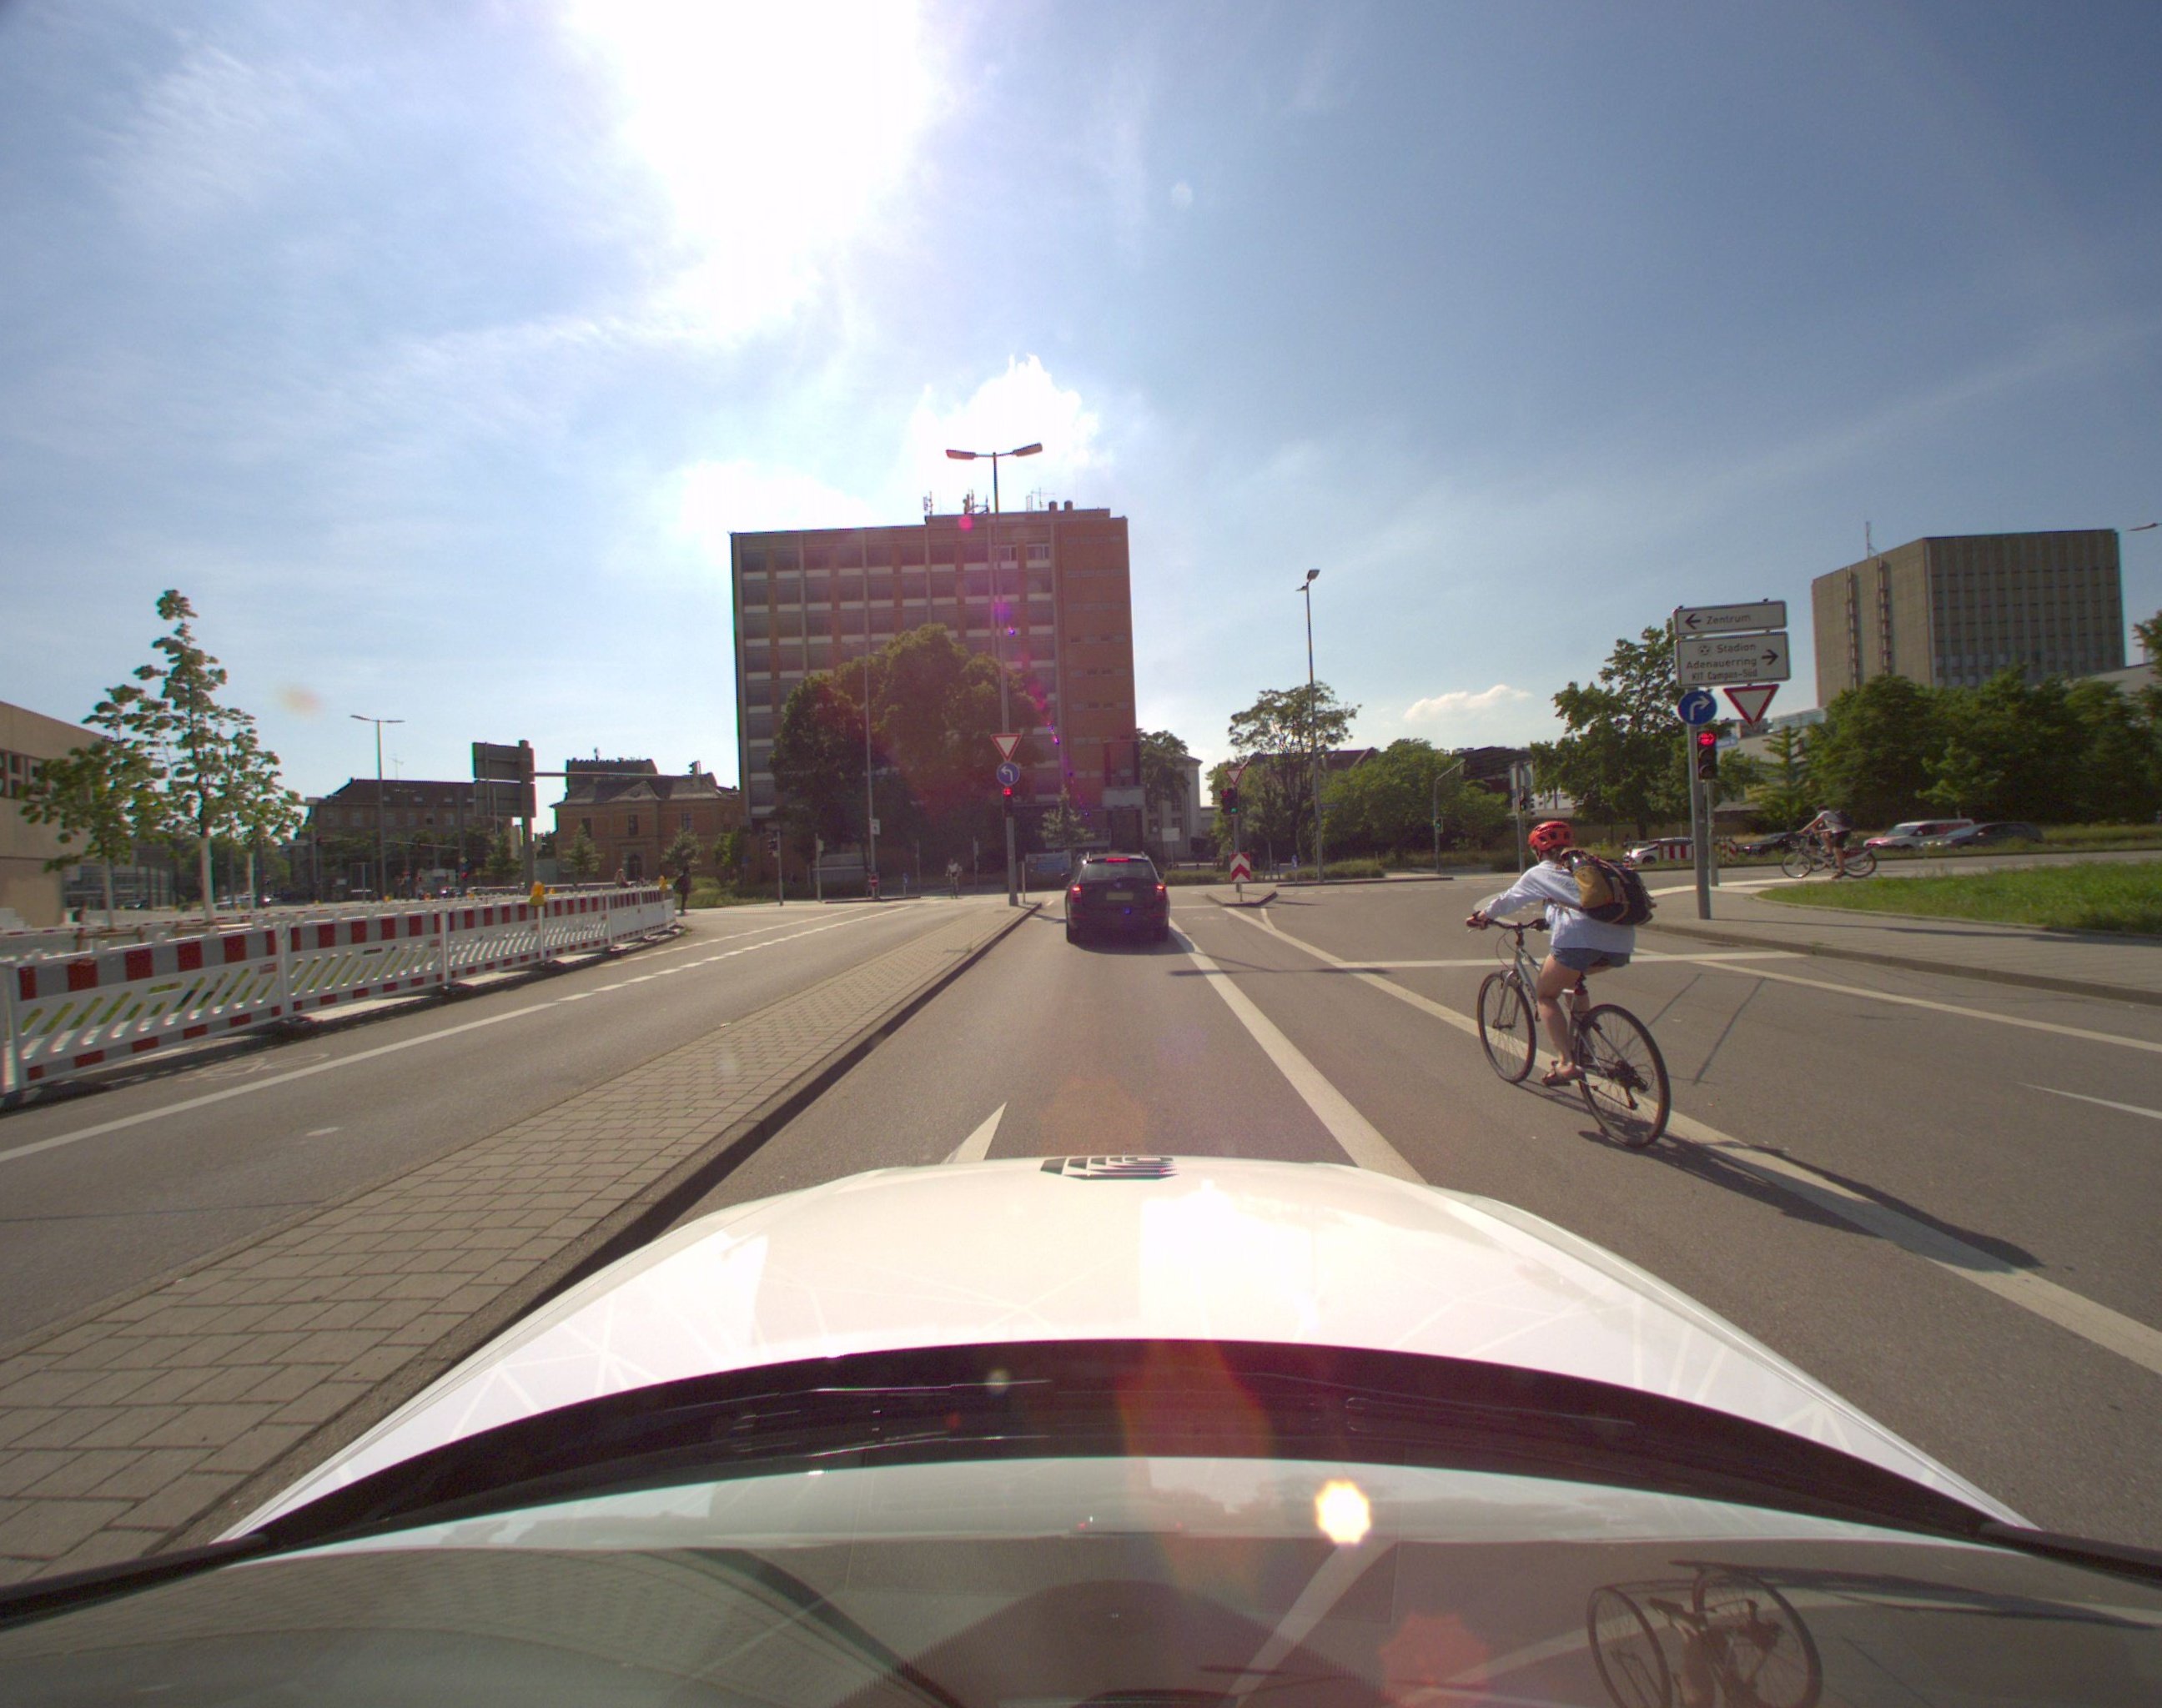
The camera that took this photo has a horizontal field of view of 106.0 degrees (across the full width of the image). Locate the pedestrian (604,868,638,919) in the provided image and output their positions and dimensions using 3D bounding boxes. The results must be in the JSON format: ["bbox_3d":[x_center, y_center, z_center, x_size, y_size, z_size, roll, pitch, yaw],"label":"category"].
[{"bbox_3d":[-16.580,1.423,29.393,0.737,1.752,1.105,-3,-2,-14],"label":"pedestrian"}]

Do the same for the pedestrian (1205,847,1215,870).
[{"bbox_3d":[10.394,0.352,65.567,0.591,1.874,0.642,-2,-1,25],"label":"pedestrian"}]

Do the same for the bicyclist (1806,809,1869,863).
[{"bbox_3d":[21.859,-0.505,23.538,1.157,1.474,0.566,-3,0,14],"label":"bicyclist"}]

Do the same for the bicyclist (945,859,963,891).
[{"bbox_3d":[-5.905,0.971,38.036,0.617,1.443,0.919,-5,0,-3],"label":"bicyclist"}]

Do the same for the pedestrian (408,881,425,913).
[{"bbox_3d":[-42.600,2.740,52.213,0.621,2.013,0.525,-3,0,15],"label":"pedestrian"}]

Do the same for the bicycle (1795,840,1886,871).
[{"bbox_3d":[21.908,0.036,23.534,1.876,0.792,0.562,-2,1,14],"label":"bicycle"}]

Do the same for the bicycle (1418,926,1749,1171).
[{"bbox_3d":[2.679,0.961,4.676,0.594,0.931,2.027,-1,-1,-1],"label":"bicycle"}]

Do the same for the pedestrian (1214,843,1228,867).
[{"bbox_3d":[11.255,0.091,65.487,0.786,1.874,0.642,-4,0,24],"label":"pedestrian"}]

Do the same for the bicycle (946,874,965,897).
[{"bbox_3d":[-5.868,1.477,38.188,0.617,0.961,1.966,-5,0,-3],"label":"bicycle"}]

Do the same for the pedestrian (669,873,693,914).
[{"bbox_3d":[-15.068,1.467,30.667,0.632,1.491,0.614,-3,0,-15],"label":"pedestrian"}]

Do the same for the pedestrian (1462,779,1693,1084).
[{"bbox_3d":[2.651,0.375,4.463,0.581,1.466,1.012,-1,-1,-2],"label":"pedestrian"}]

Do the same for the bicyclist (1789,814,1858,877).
[{"bbox_3d":[17.685,-0.183,19.404,0.499,1.470,1.129,0,-2,-41],"label":"bicyclist"}]

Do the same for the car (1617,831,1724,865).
[{"bbox_3d":[30.020,-0.288,41.584,3.973,1.464,2.000,-3,-1,1],"label":"car"}]

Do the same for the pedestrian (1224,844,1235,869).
[{"bbox_3d":[11.720,0.193,64.360,0.634,1.874,0.797,-4,0,1],"label":"pedestrian"}]

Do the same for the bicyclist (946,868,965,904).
[{"bbox_3d":[-5.866,1.476,38.144,0.617,1.581,1.013,-5,0,-3],"label":"bicyclist"}]

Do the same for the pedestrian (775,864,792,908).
[{"bbox_3d":[-14.000,1.501,38.317,0.618,2.014,0.679,0,-2,-36],"label":"pedestrian"}]

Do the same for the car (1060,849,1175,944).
[{"bbox_3d":[0.650,0.661,14.615,1.773,1.443,3.820,-1,0,2],"label":"car"}]

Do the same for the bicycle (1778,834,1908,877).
[{"bbox_3d":[17.935,0.040,19.210,0.678,0.916,2.143,-3,0,-41],"label":"bicycle"}]

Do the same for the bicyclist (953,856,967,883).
[{"bbox_3d":[-6.535,0.857,44.078,0.537,1.417,1.030,-4,-1,0],"label":"bicyclist"}]

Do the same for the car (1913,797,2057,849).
[{"bbox_3d":[40.943,-1.356,36.986,3.966,2.014,2.004,-3,-2,7],"label":"car"}]

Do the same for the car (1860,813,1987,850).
[{"bbox_3d":[42.033,-1.096,40.716,4.294,1.569,1.911,-3,0,1],"label":"car"}]

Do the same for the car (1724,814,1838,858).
[{"bbox_3d":[35.713,-0.897,41.611,3.970,2.013,2.002,-3,0,3],"label":"car"}]

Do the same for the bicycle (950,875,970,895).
[{"bbox_3d":[-6.543,1.662,44.137,0.702,0.977,2.030,-3,0,0],"label":"bicycle"}]
